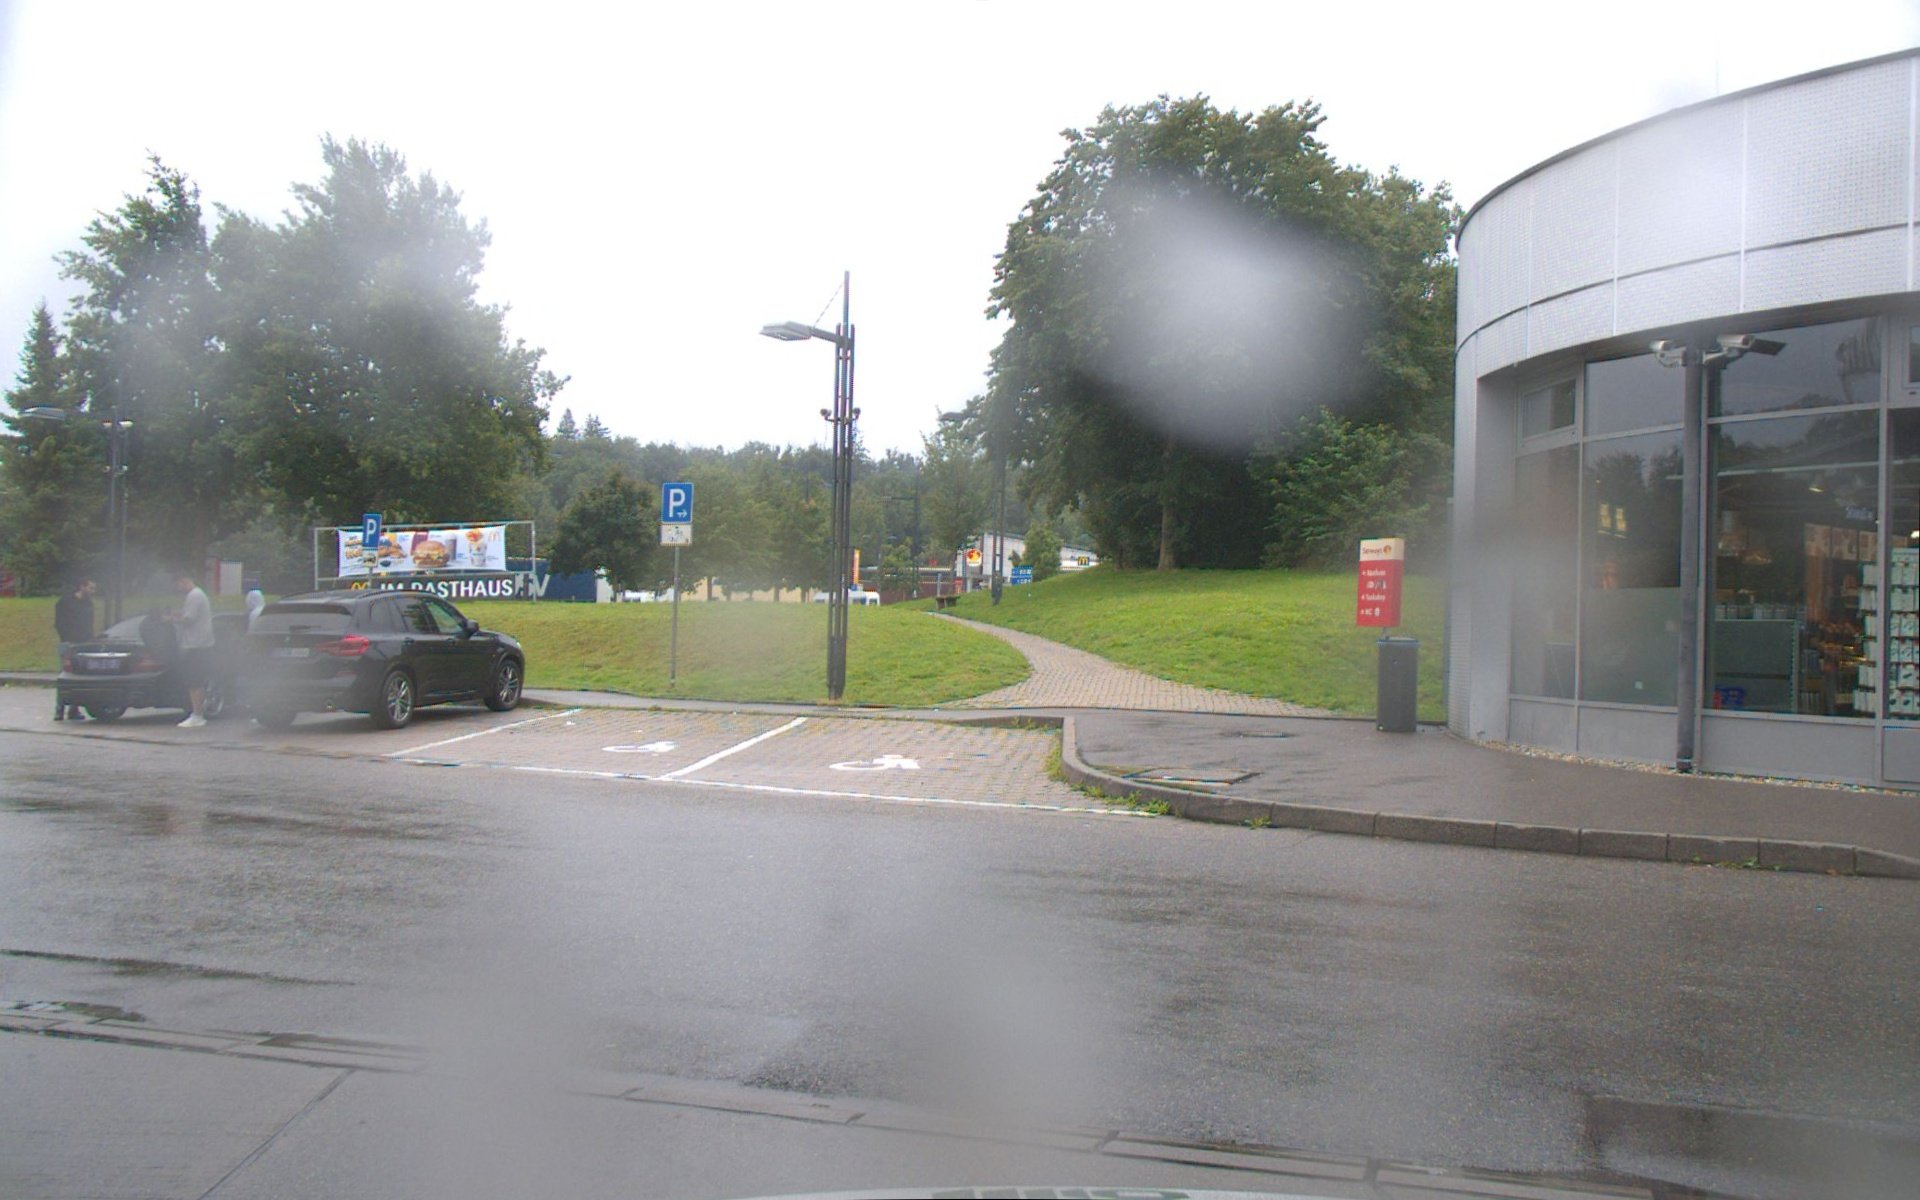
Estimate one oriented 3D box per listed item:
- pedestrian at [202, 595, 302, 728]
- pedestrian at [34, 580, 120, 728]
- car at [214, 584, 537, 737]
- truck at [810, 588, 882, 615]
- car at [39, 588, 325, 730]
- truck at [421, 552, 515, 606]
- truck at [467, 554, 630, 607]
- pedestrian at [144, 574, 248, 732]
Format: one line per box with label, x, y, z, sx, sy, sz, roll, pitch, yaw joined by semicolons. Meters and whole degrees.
pedestrian;-9.104;0.779;21.280;0.690;1.660;0.949;1;-1;38
pedestrian;-11.757;0.703;22.033;0.877;1.920;0.700;0;-1;39
car;-7.365;0.692;21.374;1.973;1.741;4.347;-1;1;11
truck;-9.228;0.140;133.670;5.298;2.049;2.366;1;0;24
car;-10.572;0.718;22.892;1.976;1.741;4.342;-1;1;-2
truck;-27.977;-1.173;94.258;2.142;2.971;5.384;1;0;24
truck;-24.926;-1.089;101.273;2.142;2.971;13.092;1;0;23
pedestrian;-9.582;0.651;20.753;0.931;1.920;0.704;1;-1;22
